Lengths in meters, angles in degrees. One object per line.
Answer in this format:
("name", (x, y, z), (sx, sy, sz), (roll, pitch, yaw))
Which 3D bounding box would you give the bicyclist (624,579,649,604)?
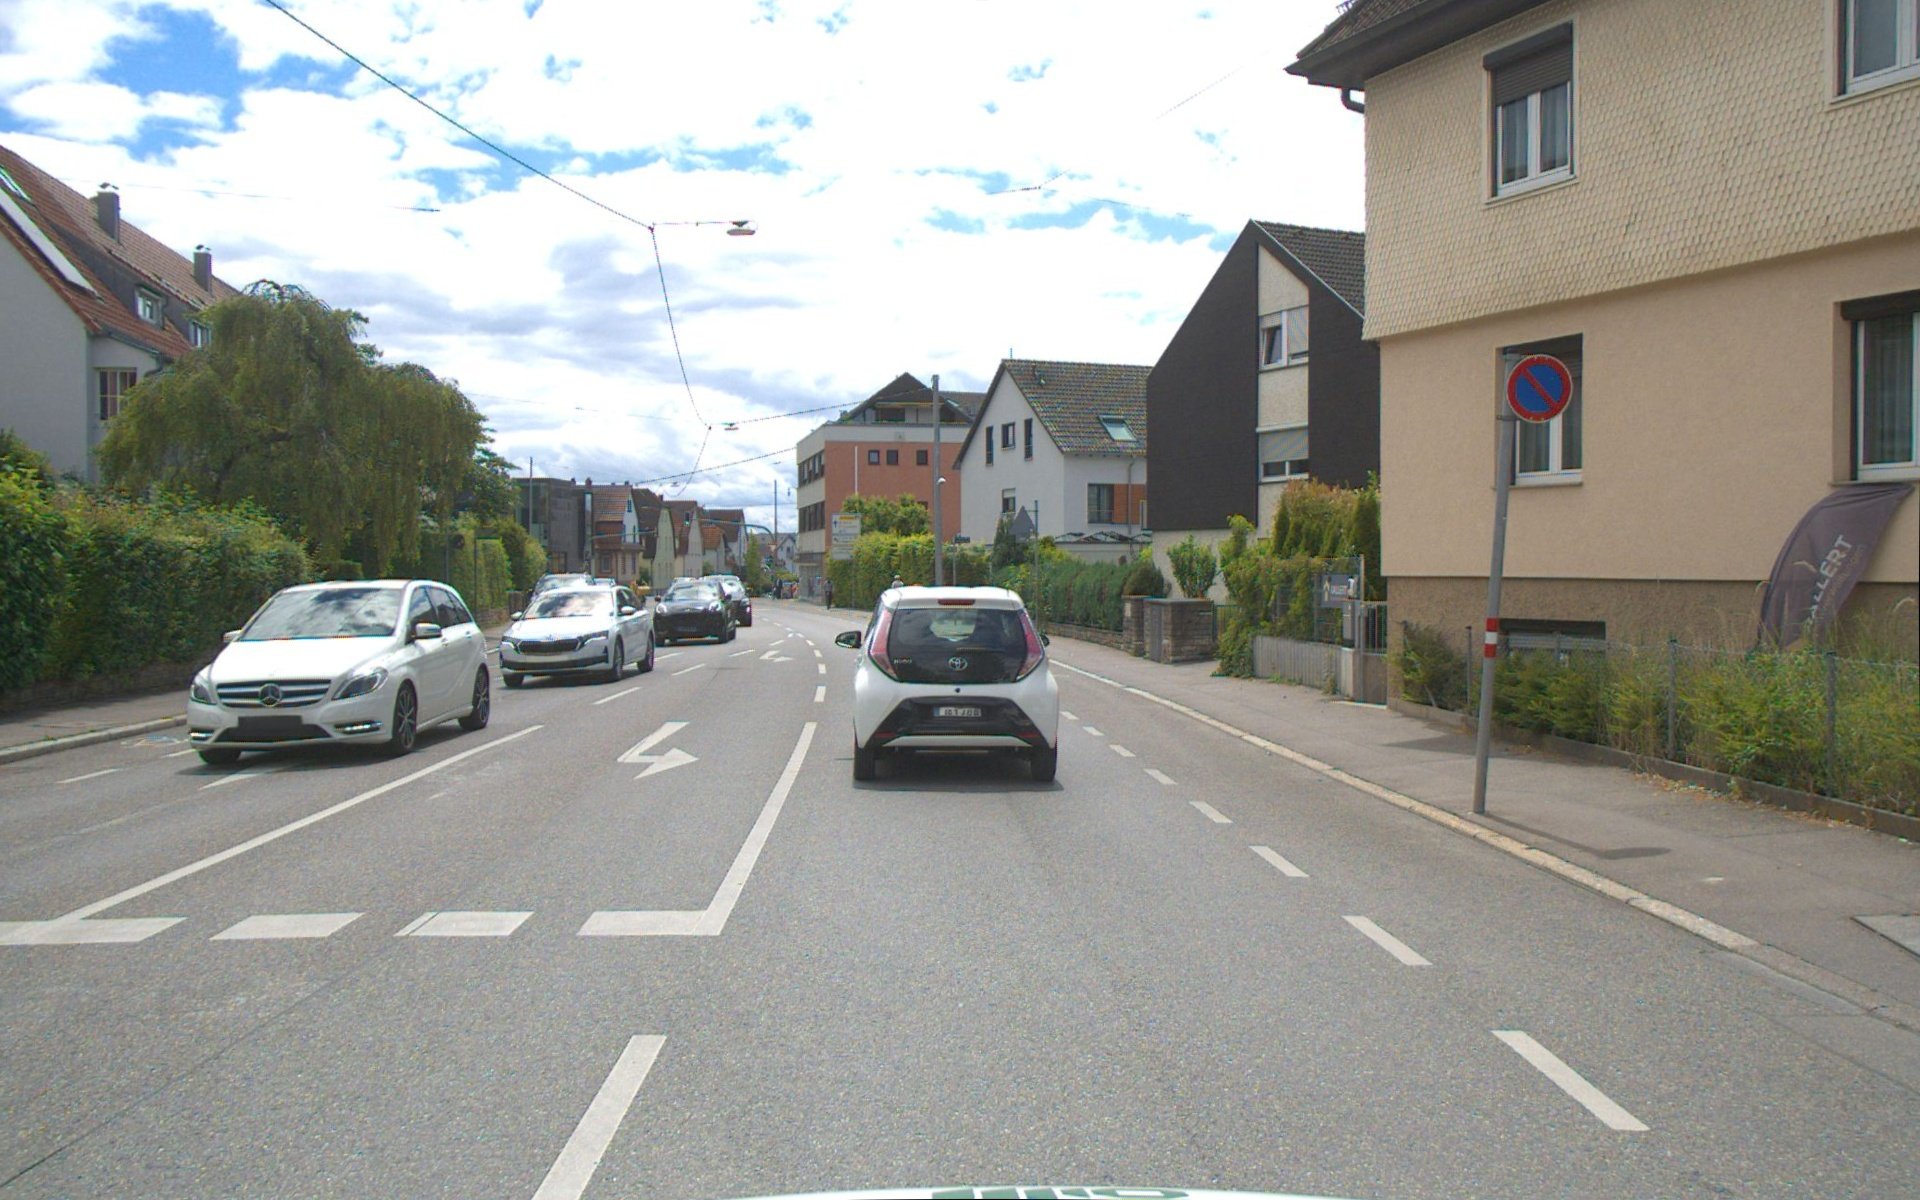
("bicyclist", (-17.911, -0.463, 91.513), (1.098, 1.359, 1.623), (-3, 1, -19))

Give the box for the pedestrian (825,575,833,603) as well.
("pedestrian", (-6.734, -0.571, 85.051), (0.405, 1.463, 0.437), (0, 1, -10))

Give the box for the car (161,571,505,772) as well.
("car", (-5.704, 0.554, 15.637), (1.739, 1.589, 4.168), (-2, 1, -2))

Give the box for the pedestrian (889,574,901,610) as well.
("pedestrian", (-2.639, -0.336, 67.222), (0.406, 1.463, 0.436), (0, 1, -14))

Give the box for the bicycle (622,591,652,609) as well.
("bicycle", (-17.895, 0.014, 91.501), (1.098, 0.953, 3.767), (-3, 1, -19))

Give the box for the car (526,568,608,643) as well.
("car", (-10.709, 0.116, 45.315), (1.742, 1.878, 4.001), (-3, 1, -8))

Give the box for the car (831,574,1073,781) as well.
("car", (-0.206, 0.552, 14.175), (1.590, 1.512, 3.994), (0, 0, -7))

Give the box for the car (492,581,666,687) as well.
("car", (-5.992, 0.478, 26.519), (1.739, 1.455, 4.521), (-3, 1, -1))

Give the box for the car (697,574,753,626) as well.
("car", (-7.930, -0.011, 55.839), (1.742, 1.579, 4.001), (-3, 1, -8))

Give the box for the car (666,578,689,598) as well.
("car", (-26.386, -1.136, 154.473), (1.957, 1.713, 3.992), (1, 1, -9))

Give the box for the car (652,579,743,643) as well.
("car", (-6.416, 0.234, 40.764), (1.739, 1.455, 4.007), (-2, 1, -3))
